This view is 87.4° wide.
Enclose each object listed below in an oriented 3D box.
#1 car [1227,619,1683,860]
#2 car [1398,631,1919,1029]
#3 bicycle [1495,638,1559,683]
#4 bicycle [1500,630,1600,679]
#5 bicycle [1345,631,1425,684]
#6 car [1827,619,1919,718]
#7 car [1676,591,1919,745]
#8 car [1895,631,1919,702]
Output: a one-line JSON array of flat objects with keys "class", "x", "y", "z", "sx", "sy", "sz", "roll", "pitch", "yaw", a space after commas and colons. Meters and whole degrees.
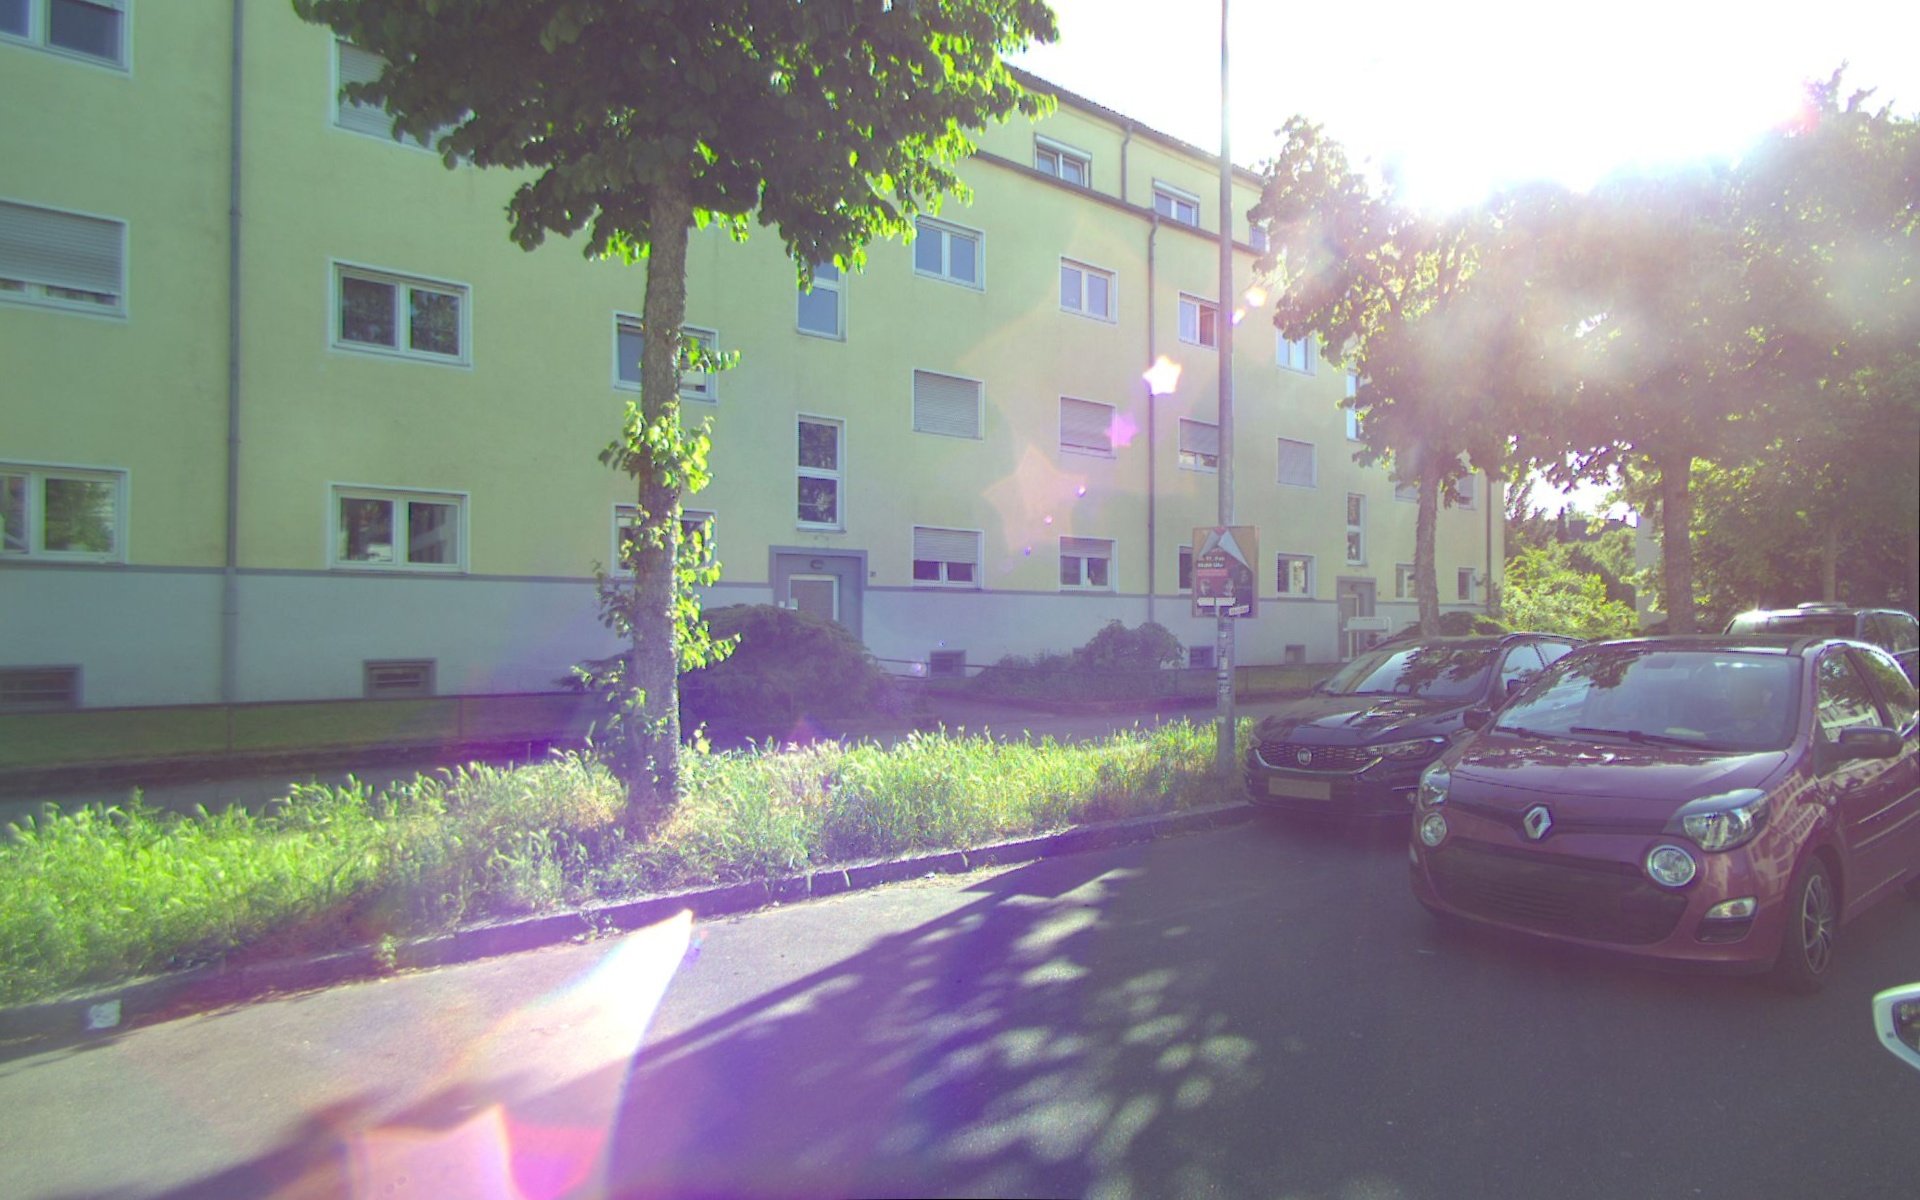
[{"class": "car", "x": 4.412, "y": 0.994, "z": 8.584, "sx": 4.734, "sy": 1.568, "sz": 1.497, "roll": 1, "pitch": -4, "yaw": -37}, {"class": "car", "x": 3.852, "y": 0.891, "z": 5.226, "sx": 3.147, "sy": 1.445, "sz": 1.495, "roll": 1, "pitch": -2, "yaw": -36}, {"class": "bicycle", "x": 13.384, "y": 1.403, "z": 23.686, "sx": 1.909, "sy": 1.005, "sz": 0.590, "roll": 1, "pitch": -2, "yaw": -37}, {"class": "bicycle", "x": 15.241, "y": 1.385, "z": 25.983, "sx": 2.122, "sy": 1.224, "sz": 0.686, "roll": -2, "pitch": -2, "yaw": 44}, {"class": "bicycle", "x": 8.581, "y": 1.142, "z": 20.259, "sx": 1.909, "sy": 1.005, "sz": 0.590, "roll": 1, "pitch": -2, "yaw": -37}, {"class": "car", "x": 17.215, "y": 1.180, "z": 18.154, "sx": 4.193, "sy": 1.632, "sz": 1.600, "roll": 1, "pitch": -3, "yaw": -39}, {"class": "car", "x": 12.642, "y": 0.932, "z": 14.833, "sx": 5.092, "sy": 1.929, "sz": 1.814, "roll": 1, "pitch": -3, "yaw": -36}, {"class": "car", "x": 21.407, "y": 1.369, "z": 21.328, "sx": 4.021, "sy": 1.446, "sz": 1.601, "roll": 1, "pitch": -3, "yaw": -37}]
